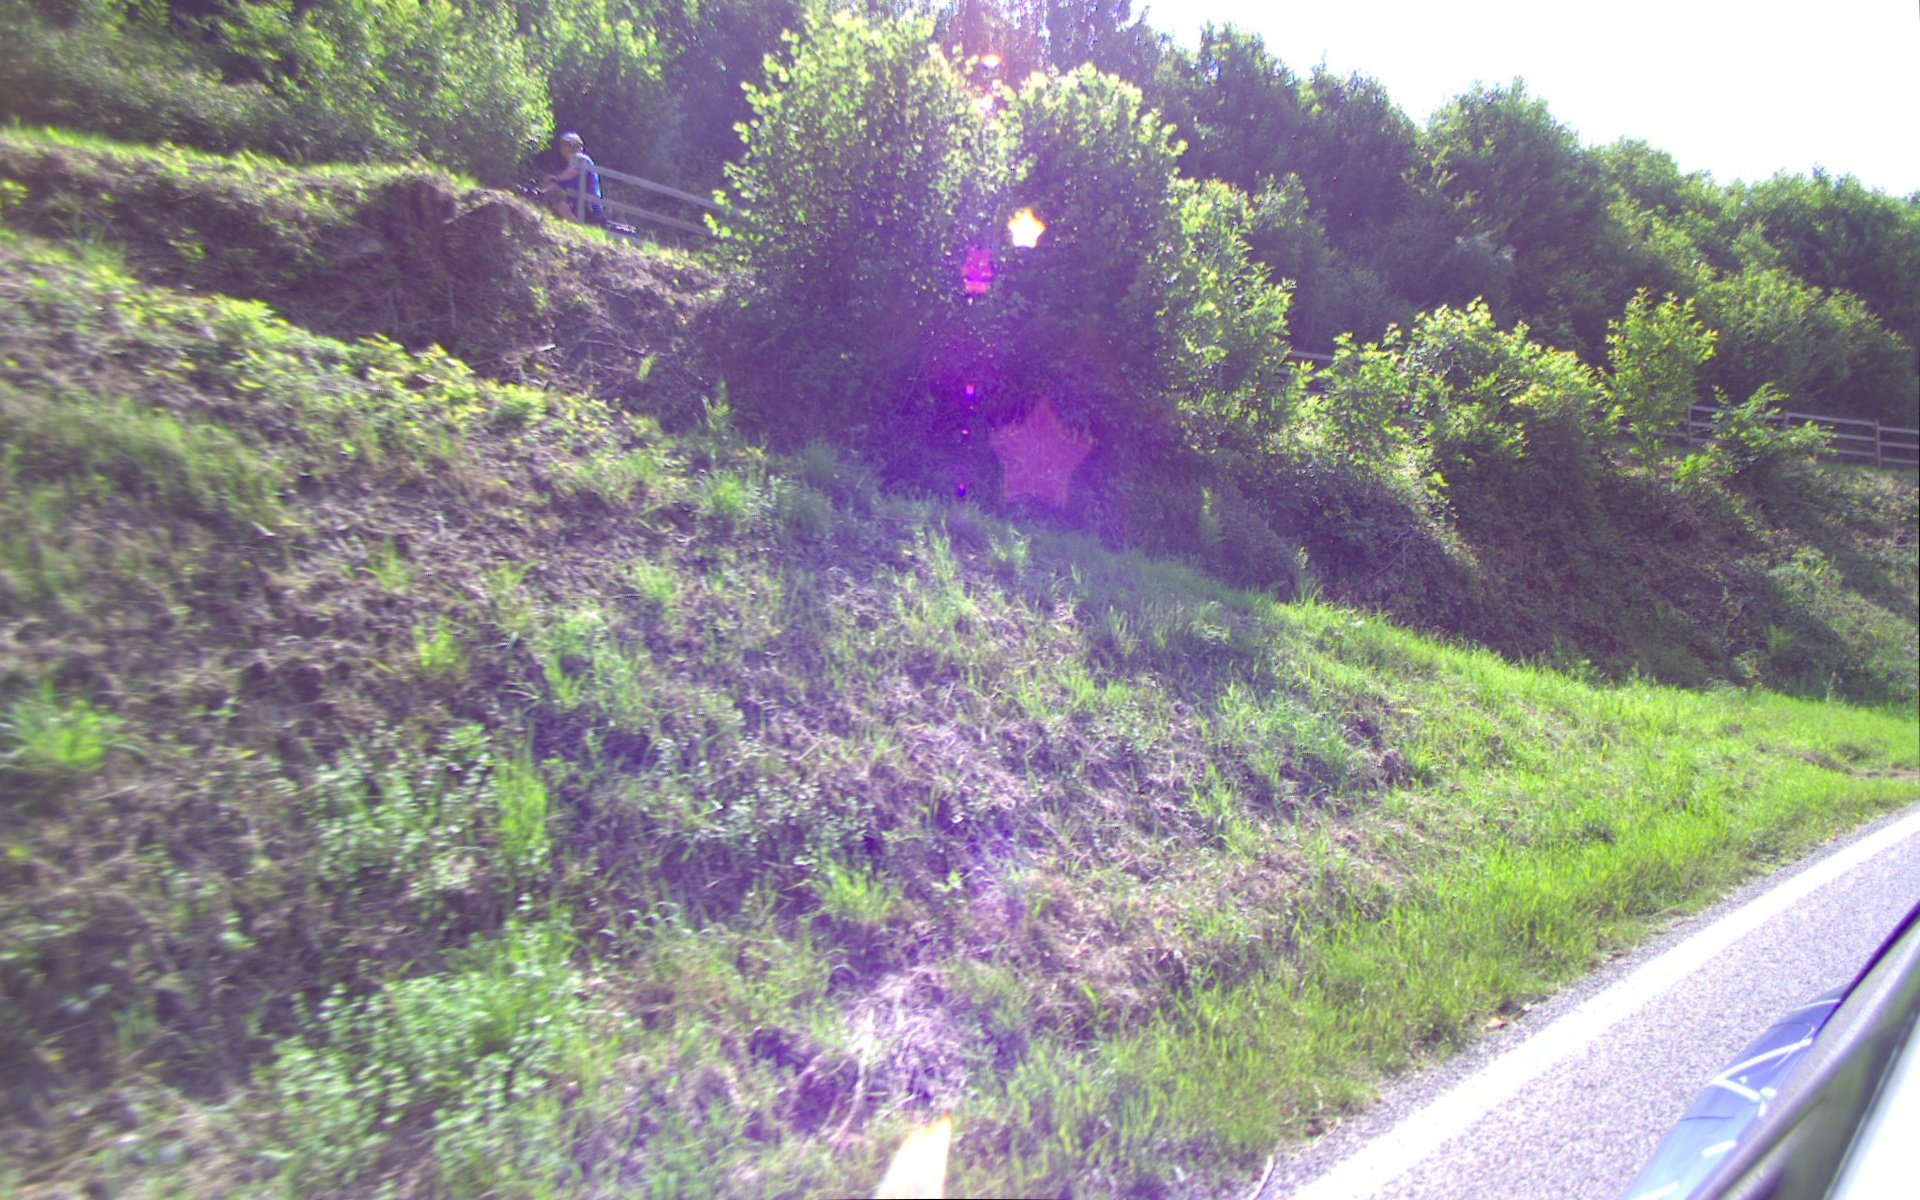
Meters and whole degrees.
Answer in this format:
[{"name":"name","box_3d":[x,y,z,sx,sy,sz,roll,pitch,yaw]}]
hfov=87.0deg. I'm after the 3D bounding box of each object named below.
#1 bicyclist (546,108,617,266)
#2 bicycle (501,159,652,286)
[{"name":"bicyclist","box_3d":[-4.536,-4.916,12.126,0.602,1.544,0.624,2,-4,-41]},{"name":"bicycle","box_3d":[-4.562,-4.461,12.087,1.569,0.927,0.624,2,-4,-41]}]
